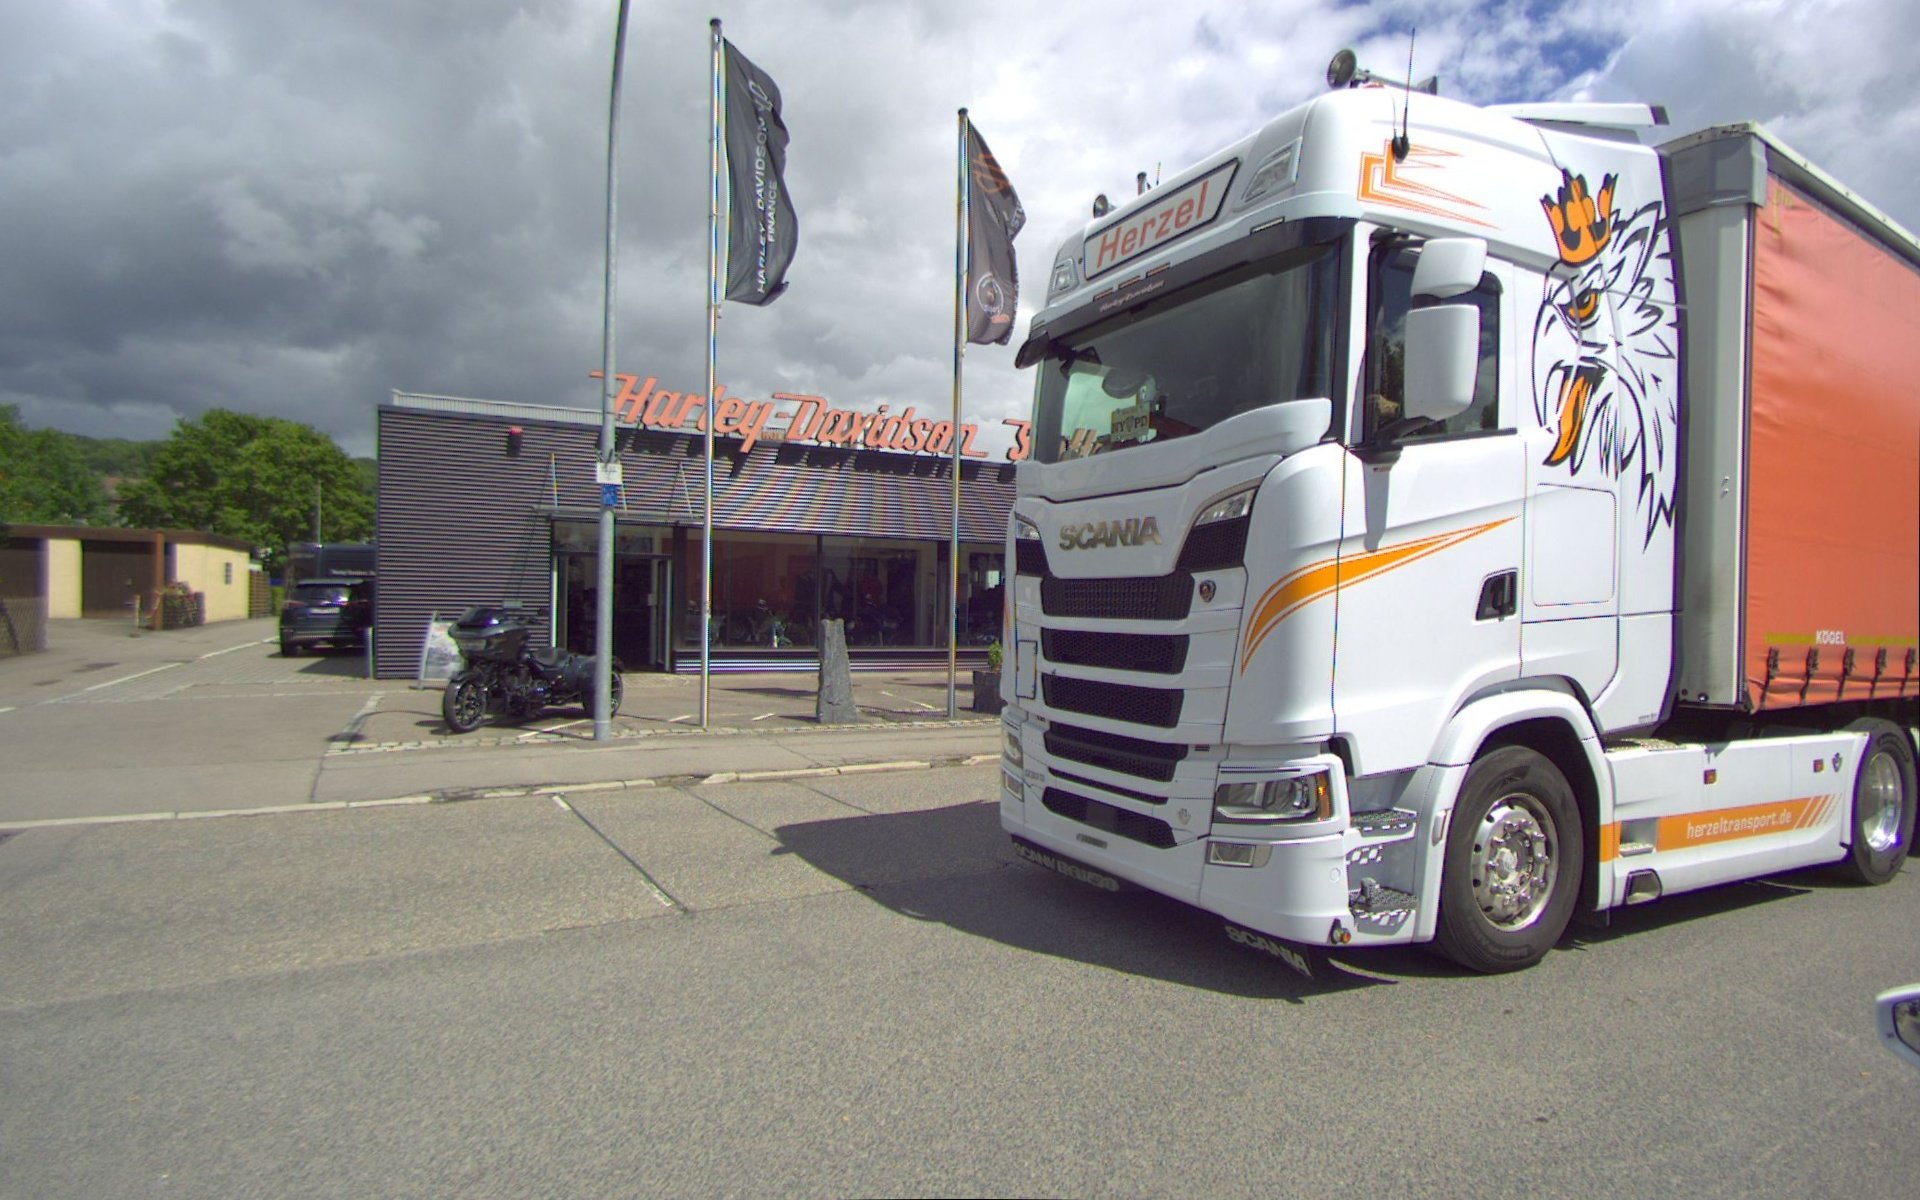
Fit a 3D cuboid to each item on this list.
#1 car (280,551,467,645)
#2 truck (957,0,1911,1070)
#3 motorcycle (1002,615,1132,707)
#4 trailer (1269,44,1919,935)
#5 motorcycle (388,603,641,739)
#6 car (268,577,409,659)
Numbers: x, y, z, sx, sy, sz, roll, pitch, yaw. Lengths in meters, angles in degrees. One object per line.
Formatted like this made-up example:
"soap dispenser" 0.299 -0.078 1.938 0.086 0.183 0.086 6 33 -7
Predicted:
"car" -16.121 -0.032 27.809 1.965 2.397 3.991 2 0 32
"truck" 2.843 -0.491 5.821 4.934 4.174 2.755 2 0 -33
"motorcycle" 1.715 0.961 16.623 0.837 1.323 2.553 2 0 -27
"trailer" 9.293 -0.306 10.112 15.189 4.200 2.754 2 0 -34
"motorcycle" -4.927 0.726 11.405 1.436 1.309 2.454 2 0 12
"car" -13.917 0.343 22.745 1.869 1.663 3.982 -1 1 -20
